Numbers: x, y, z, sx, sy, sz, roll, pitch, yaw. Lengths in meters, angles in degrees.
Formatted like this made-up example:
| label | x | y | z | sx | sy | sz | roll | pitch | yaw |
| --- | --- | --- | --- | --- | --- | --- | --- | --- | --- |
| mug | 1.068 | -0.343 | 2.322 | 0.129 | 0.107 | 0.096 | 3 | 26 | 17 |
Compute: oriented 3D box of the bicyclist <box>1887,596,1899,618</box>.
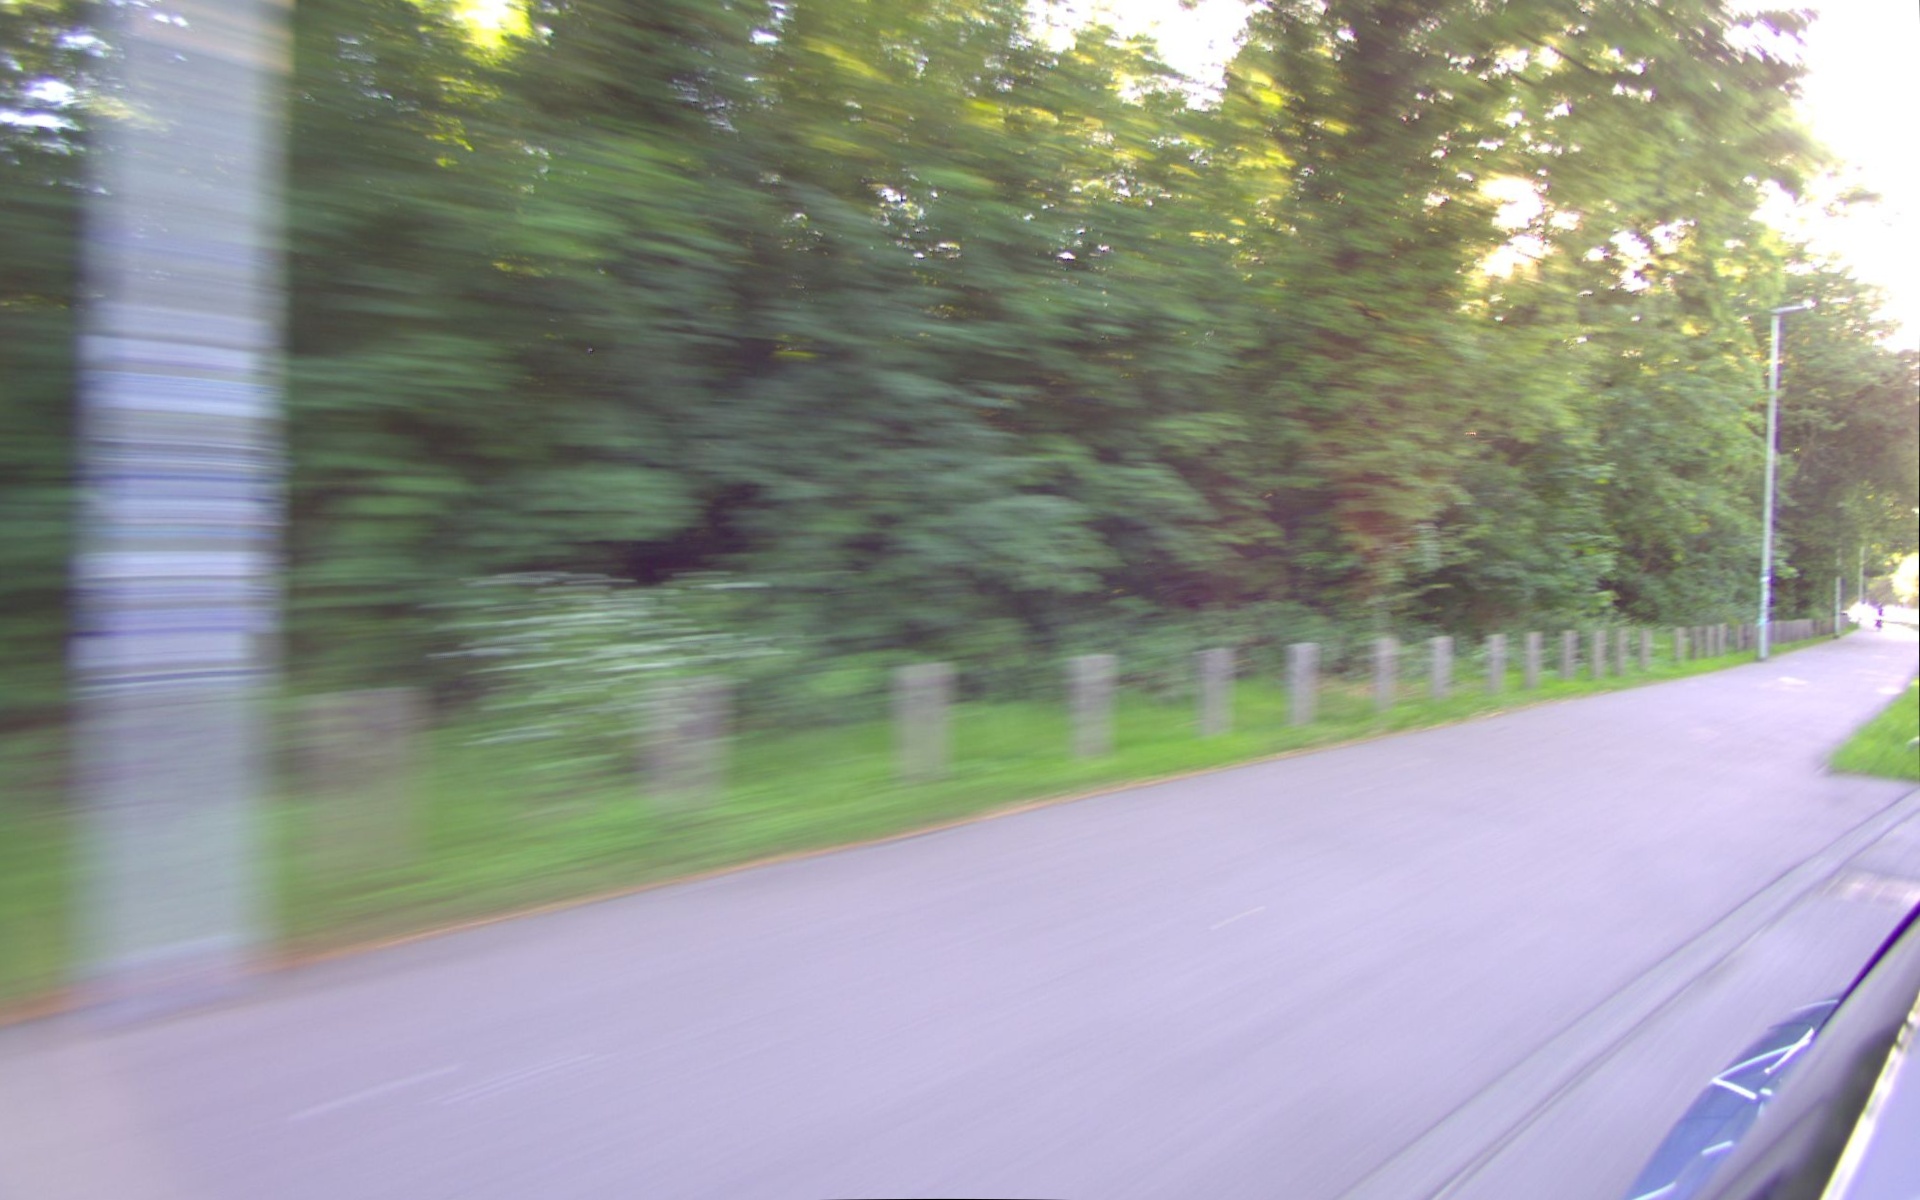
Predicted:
| label | x | y | z | sx | sy | sz | roll | pitch | yaw |
| --- | --- | --- | --- | --- | --- | --- | --- | --- | --- |
| bicyclist | 55.545 | 0.409 | 60.247 | 0.513 | 1.283 | 0.490 | 1 | 0 | 43 |

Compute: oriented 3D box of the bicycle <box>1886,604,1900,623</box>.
| label | x | y | z | sx | sy | sz | roll | pitch | yaw |
| --- | --- | --- | --- | --- | --- | --- | --- | --- | --- |
| bicycle | 55.520 | 0.798 | 60.223 | 0.606 | 1.070 | 2.830 | 1 | 1 | 43 |
